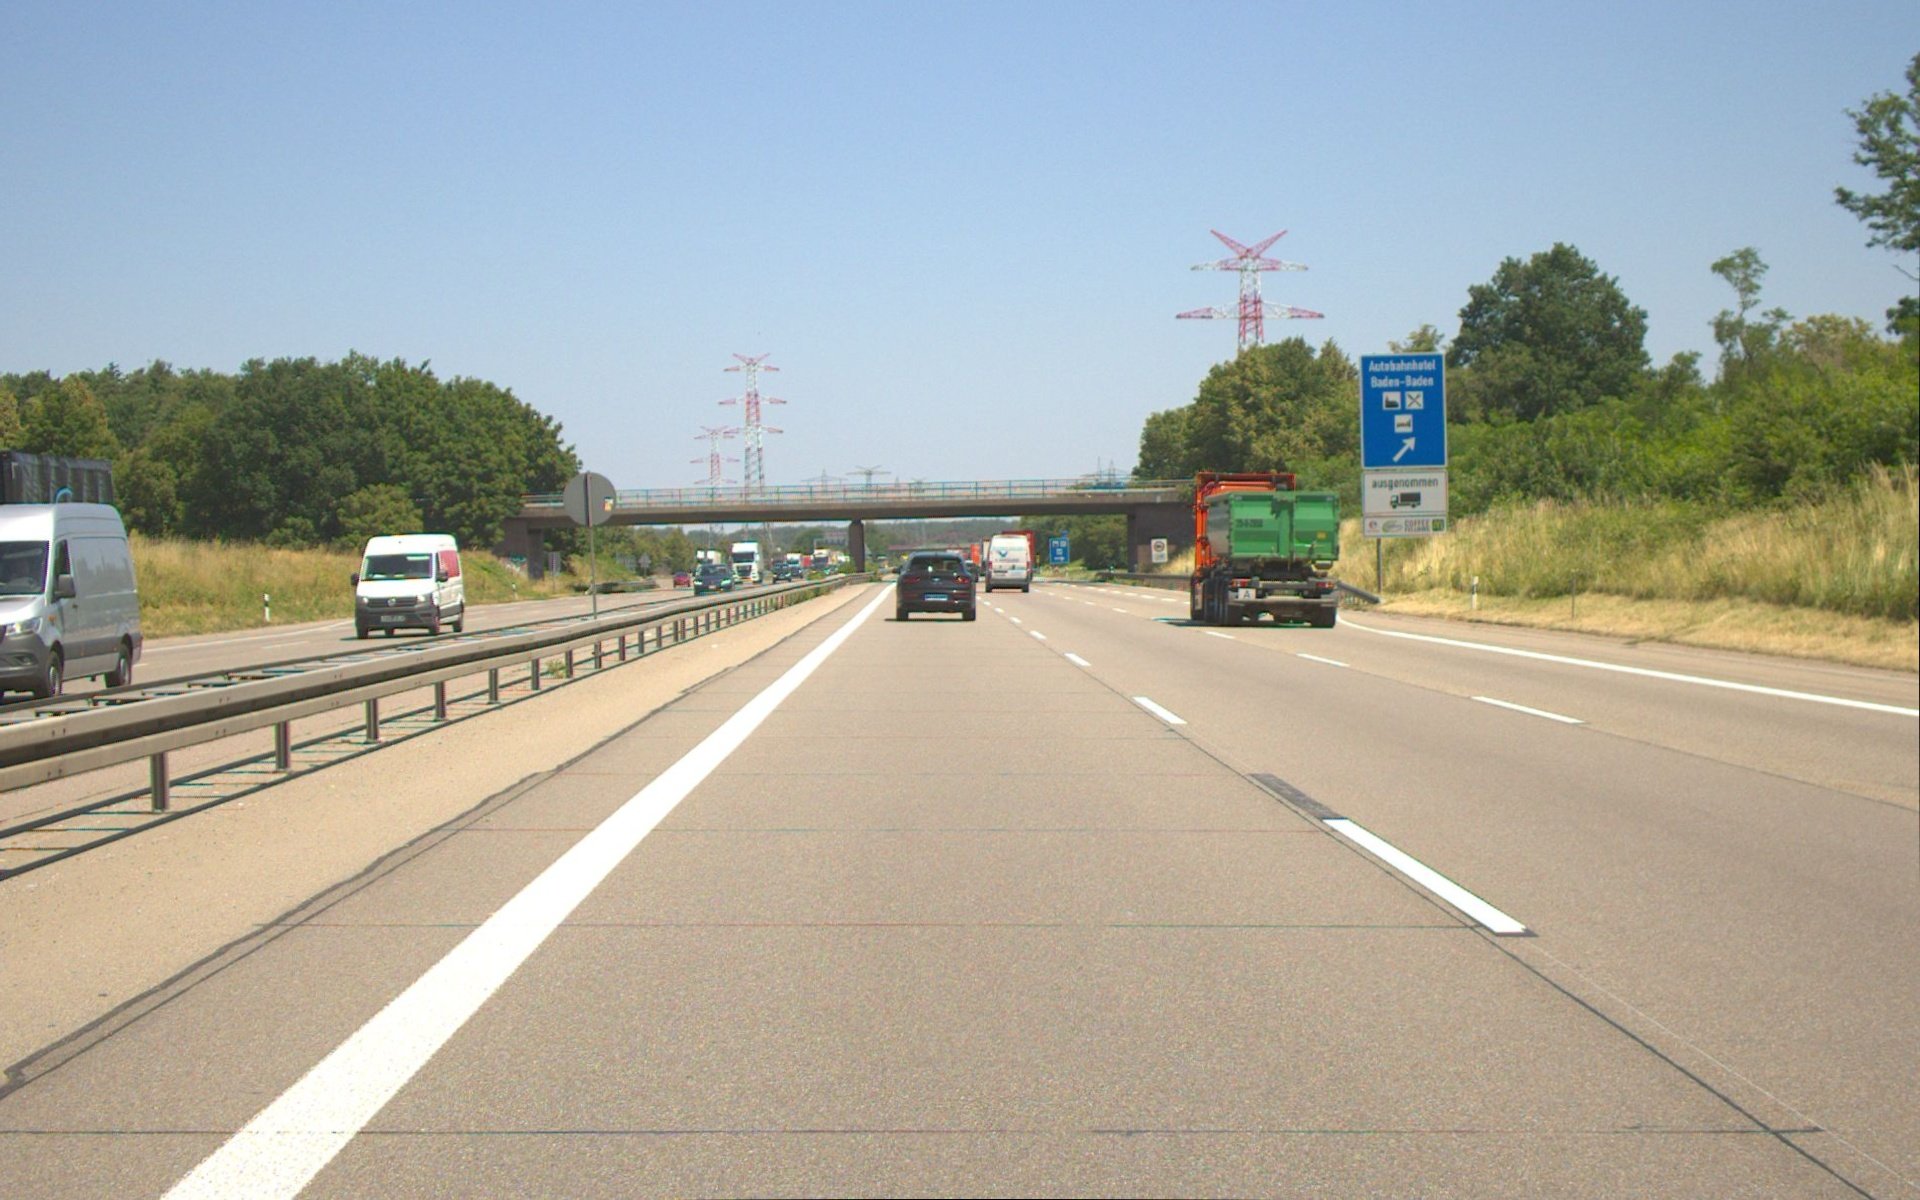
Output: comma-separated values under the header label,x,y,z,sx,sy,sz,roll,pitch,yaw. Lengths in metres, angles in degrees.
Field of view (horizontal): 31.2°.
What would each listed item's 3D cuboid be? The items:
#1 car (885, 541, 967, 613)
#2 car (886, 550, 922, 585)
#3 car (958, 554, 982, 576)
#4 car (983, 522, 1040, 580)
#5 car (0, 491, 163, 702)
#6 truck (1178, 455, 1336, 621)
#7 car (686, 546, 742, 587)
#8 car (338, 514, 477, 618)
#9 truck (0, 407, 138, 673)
label,x,y,z,sx,sy,sz,roll,pitch,yaw
car,-0.864,-0.600,86.672,1.993,1.744,4.000,1,1,-1
car,-2.869,-1.676,175.520,1.794,1.744,4.000,1,1,-1
car,0.724,-2.640,257.646,1.747,1.628,4.004,1,1,0
car,2.489,-2.418,168.911,2.621,2.750,6.096,1,1,0
car,-12.273,-0.057,45.310,1.993,2.561,6.390,-3,1,0
truck,7.207,-1.505,85.123,2.681,3.785,12.479,1,1,0
car,-11.972,-1.651,167.525,2.364,1.888,5.225,-3,1,-1
car,-13.993,-0.875,87.513,2.364,2.440,7.134,-3,1,-1
truck,-18.318,-1.007,63.121,3.377,4.609,12.187,-3,1,0
